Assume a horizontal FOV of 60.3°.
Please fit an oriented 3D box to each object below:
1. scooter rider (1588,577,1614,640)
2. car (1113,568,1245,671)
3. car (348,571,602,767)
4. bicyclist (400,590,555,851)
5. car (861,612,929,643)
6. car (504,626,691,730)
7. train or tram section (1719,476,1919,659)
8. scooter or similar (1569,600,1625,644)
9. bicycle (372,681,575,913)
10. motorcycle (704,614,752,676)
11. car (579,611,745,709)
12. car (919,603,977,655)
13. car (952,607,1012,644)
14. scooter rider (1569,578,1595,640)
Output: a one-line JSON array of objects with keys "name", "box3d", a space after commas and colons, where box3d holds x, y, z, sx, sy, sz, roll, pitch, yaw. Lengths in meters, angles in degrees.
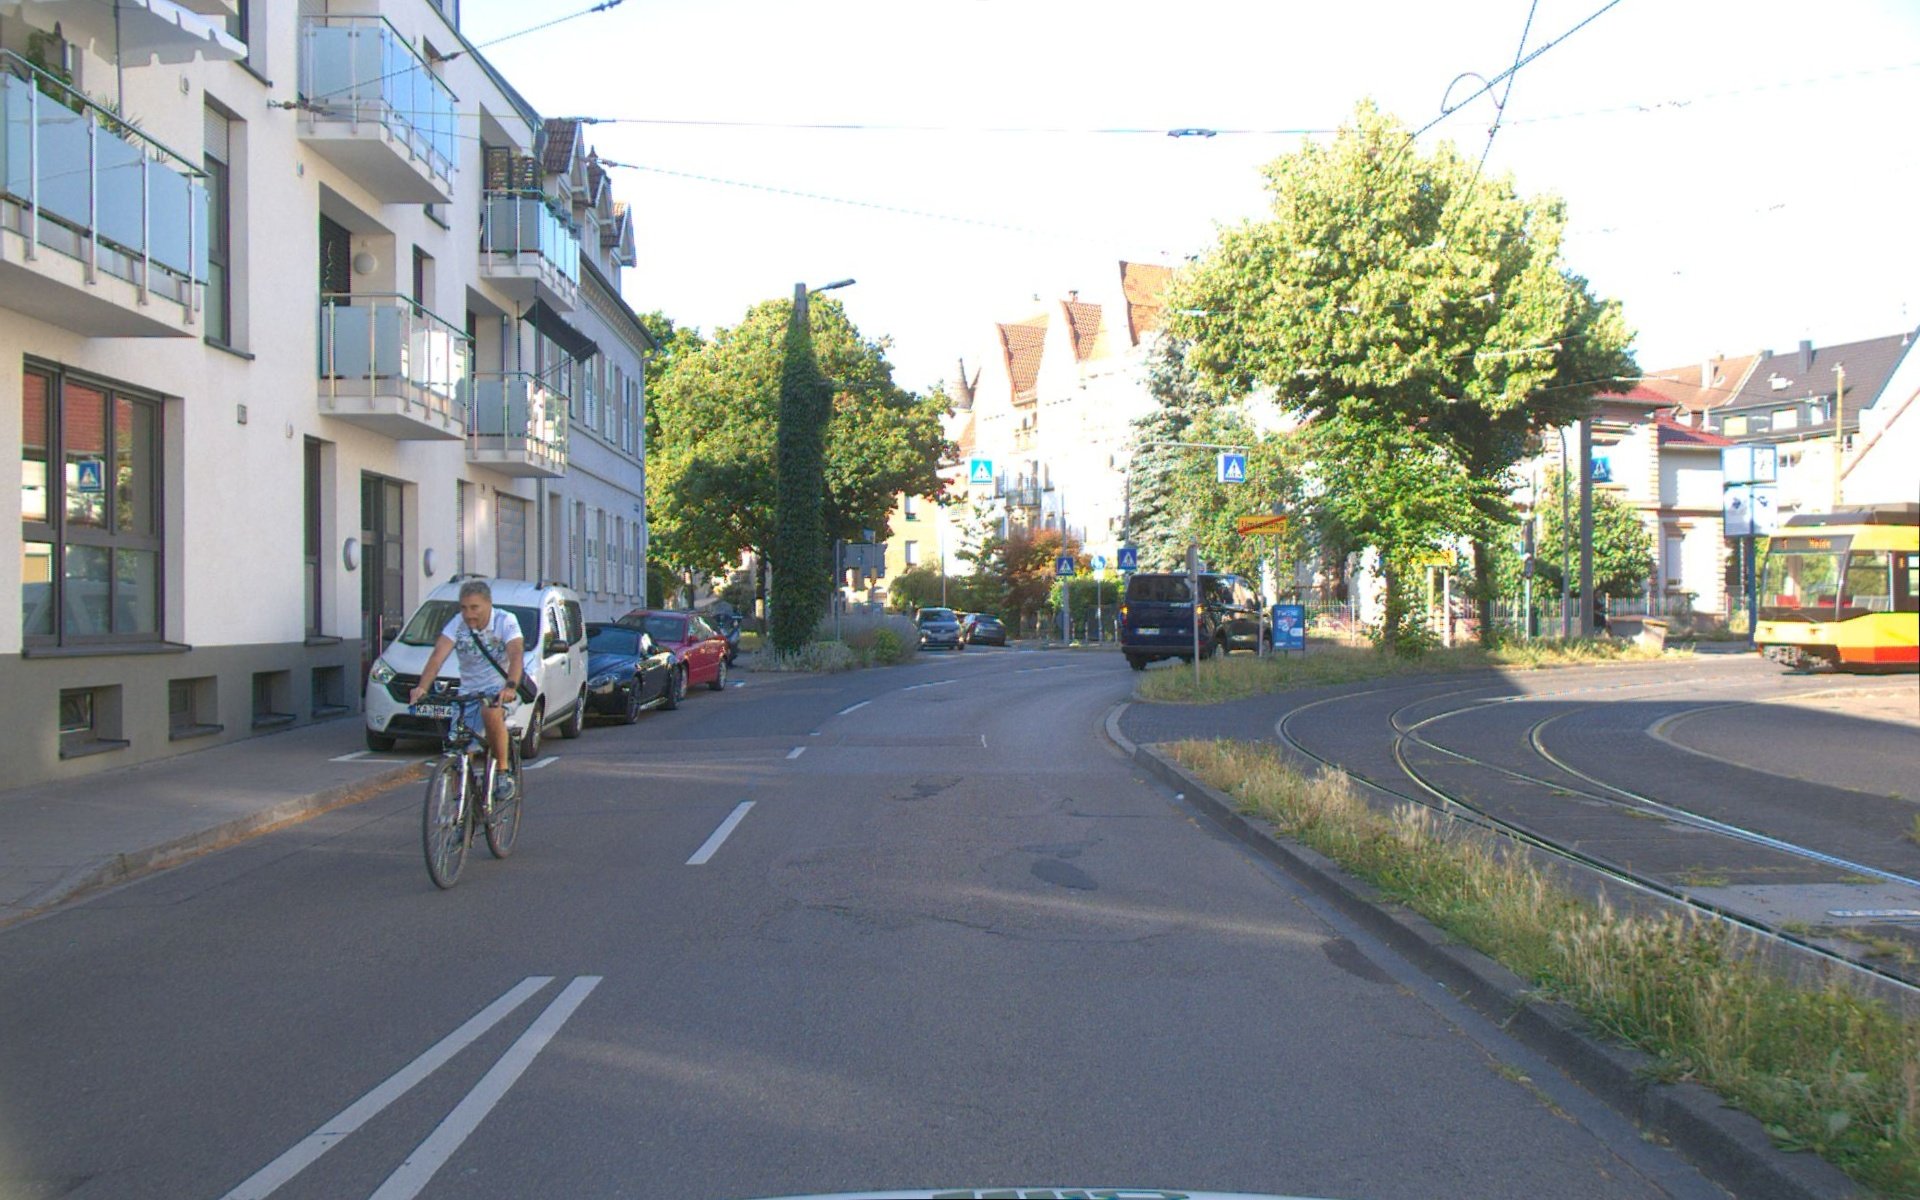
[{"name": "scooter rider", "box3d": [17.775, 0.229, 45.853, 0.593, 1.702, 0.655, -2, 0, 19]}, {"name": "car", "box3d": [4.721, 0.369, 35.173, 1.952, 2.049, 4.001, -1, 0, 20]}, {"name": "car", "box3d": [-5.213, 0.698, 18.373, 1.775, 1.902, 4.329, 1, -1, -4]}, {"name": "bicyclist", "box3d": [-2.740, 0.660, 9.451, 0.610, 1.404, 0.801, -2, -1, -1]}, {"name": "car", "box3d": [-3.597, 1.483, 91.107, 2.306, 1.624, 4.898, -1, -1, -21]}, {"name": "car", "box3d": [-4.990, 1.028, 23.267, 1.630, 1.296, 4.026, 0, -1, 1]}, {"name": "train or tram section", "box3d": [21.030, -0.748, 36.223, 9.779, 3.617, 2.757, -2, 0, -29]}, {"name": "scooter or similar", "box3d": [17.657, 0.609, 45.887, 1.372, 1.156, 0.685, -2, 0, 18]}, {"name": "bicycle", "box3d": [-2.723, 1.061, 9.437, 0.610, 1.100, 1.783, -2, -1, -1]}, {"name": "motorcycle", "box3d": [-5.432, 1.029, 38.578, 0.914, 1.381, 2.557, -1, -1, -12]}, {"name": "car", "box3d": [-5.186, 0.991, 29.374, 1.673, 1.492, 4.595, 0, 1, 6]}, {"name": "car", "box3d": [-0.452, 0.994, 58.180, 1.679, 1.427, 3.736, -2, 4, -5]}, {"name": "car", "box3d": [0.985, 1.170, 75.904, 1.958, 1.624, 3.989, -1, 0, -11]}, {"name": "scooter rider", "box3d": [17.308, 0.240, 46.023, 0.593, 1.702, 0.655, -2, 0, 19]}]
